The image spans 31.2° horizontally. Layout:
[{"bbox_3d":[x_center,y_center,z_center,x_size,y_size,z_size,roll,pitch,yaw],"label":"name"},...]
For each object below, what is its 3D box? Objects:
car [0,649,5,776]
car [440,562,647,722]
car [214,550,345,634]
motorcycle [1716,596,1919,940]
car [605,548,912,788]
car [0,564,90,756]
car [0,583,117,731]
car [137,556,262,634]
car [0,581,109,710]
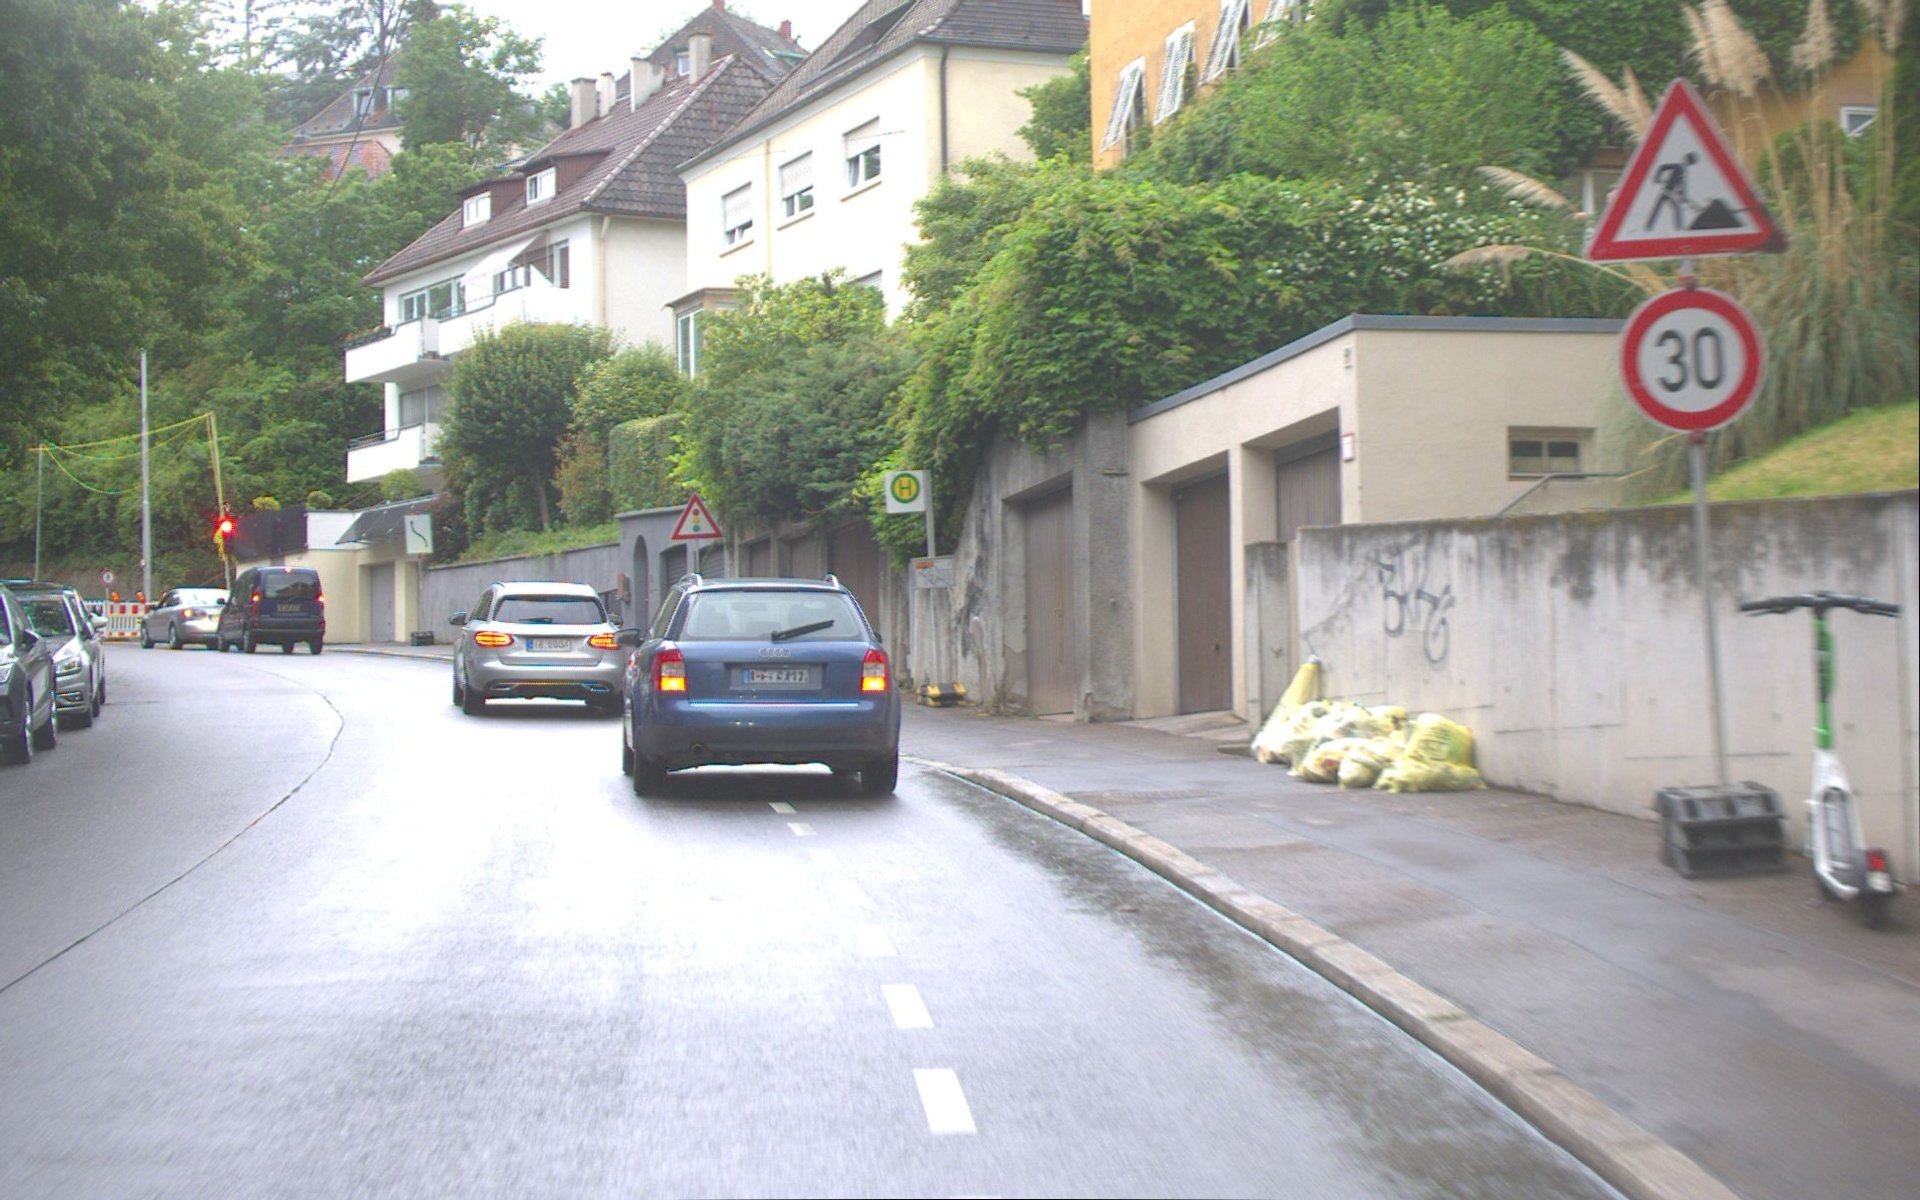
[{"bbox_3d":[-8.107,0.613,24.761,1.877,1.591,4.001,-2,1,-9],"label":"car"},{"bbox_3d":[-4.795,0.424,39.121,1.949,1.556,4.265,-1,3,-12],"label":"car"},{"bbox_3d":[-14.639,-0.159,73.773,1.993,1.678,4.001,-2,1,-22],"label":"car"},{"bbox_3d":[3.153,0.568,12.335,0.548,1.128,1.440,-2,1,1],"label":"motorcycle"},{"bbox_3d":[-1.473,0.426,23.768,1.853,1.409,4.362,-3,0,-6],"label":"car"},{"bbox_3d":[-8.857,0.540,30.174,1.993,1.568,4.001,-3,0,-10],"label":"car"},{"bbox_3d":[-10.260,0.616,37.353,1.993,1.470,4.001,-3,0,-13],"label":"car"},{"bbox_3d":[-17.522,-0.100,79.074,1.993,1.678,4.001,-2,1,-24],"label":"car"},{"bbox_3d":[-11.634,0.572,42.670,1.993,1.470,4.001,-3,0,-14],"label":"car"}]
